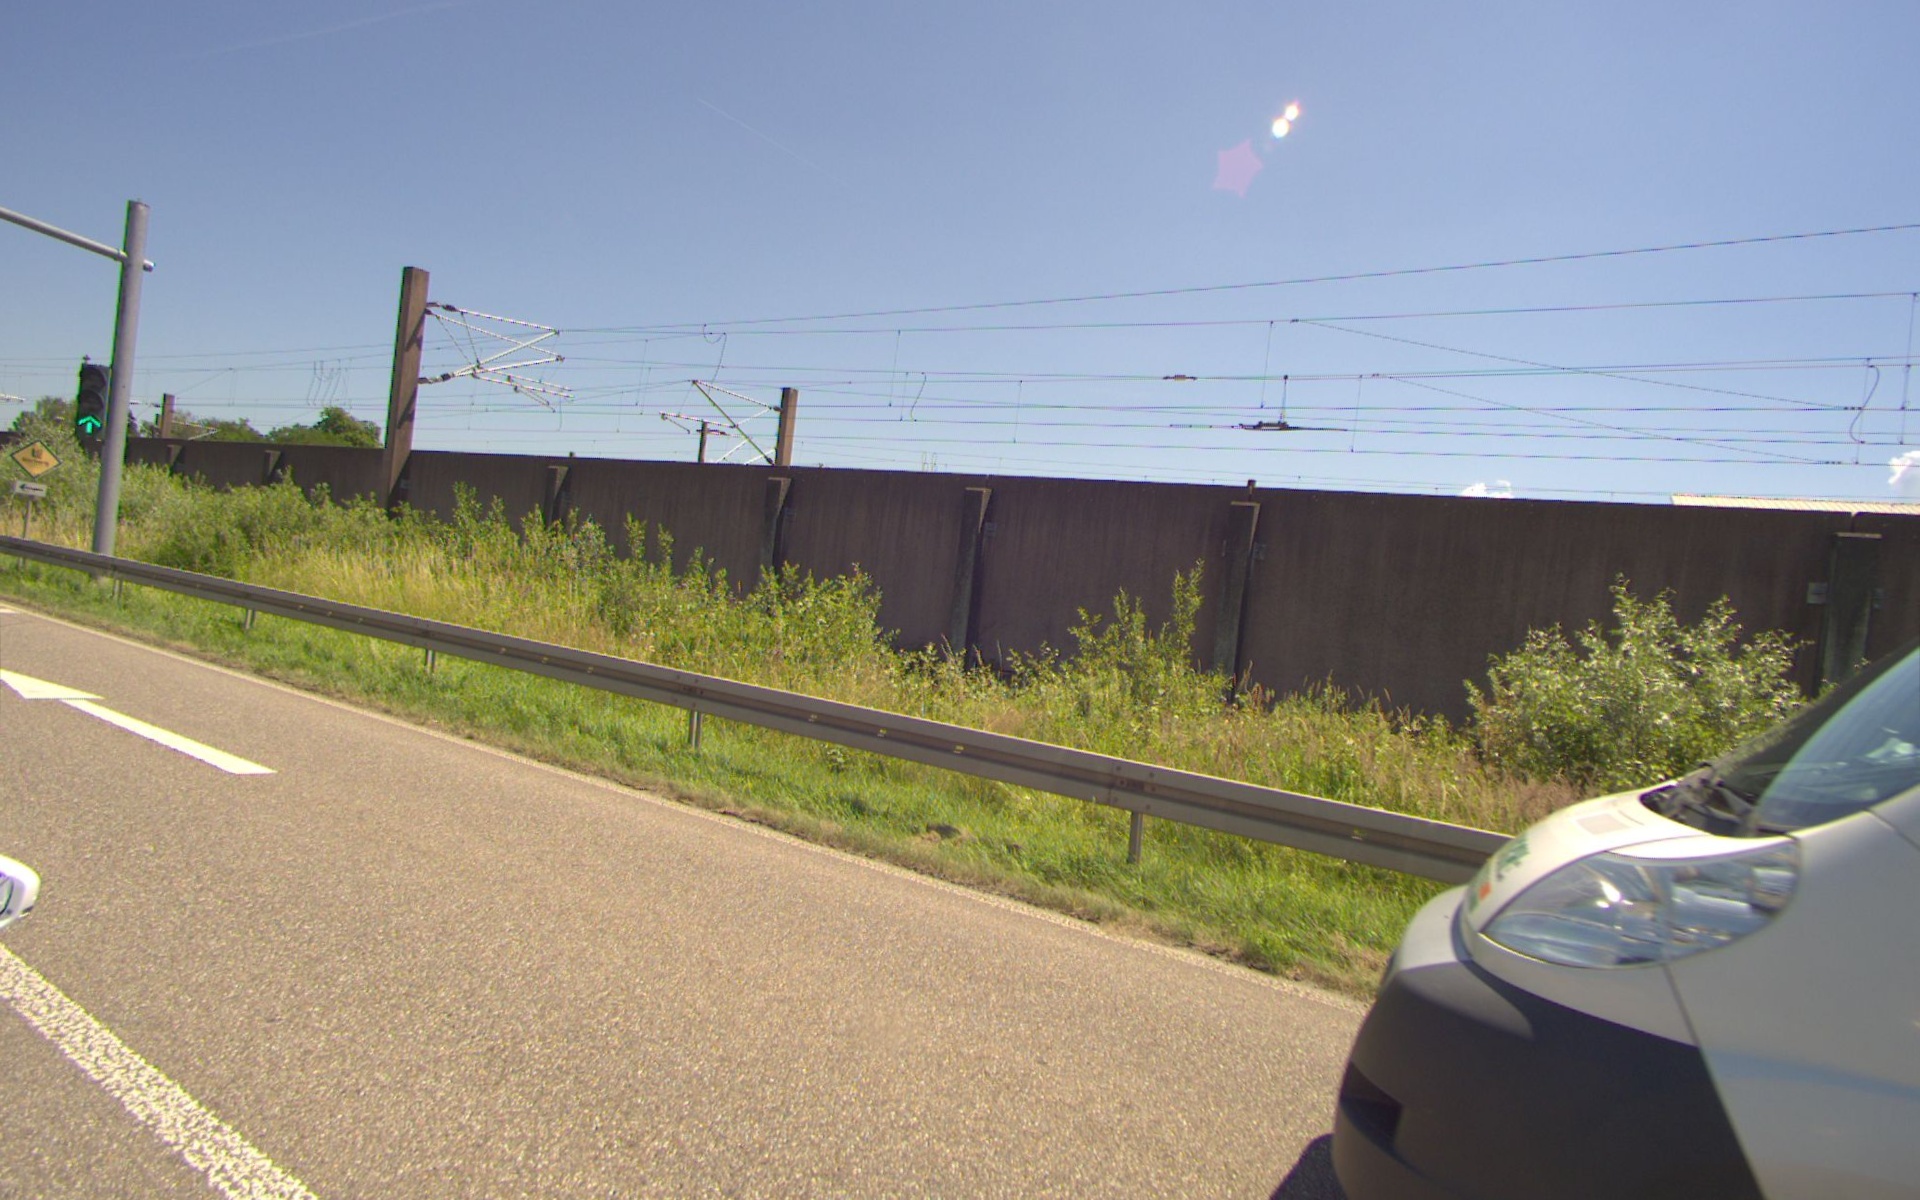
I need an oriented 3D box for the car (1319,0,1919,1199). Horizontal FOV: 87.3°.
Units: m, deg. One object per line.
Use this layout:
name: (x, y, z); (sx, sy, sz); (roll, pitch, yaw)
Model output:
car: (4.111, 0.671, 0.999); (6.638, 2.634, 2.193); (7, -1, 31)
